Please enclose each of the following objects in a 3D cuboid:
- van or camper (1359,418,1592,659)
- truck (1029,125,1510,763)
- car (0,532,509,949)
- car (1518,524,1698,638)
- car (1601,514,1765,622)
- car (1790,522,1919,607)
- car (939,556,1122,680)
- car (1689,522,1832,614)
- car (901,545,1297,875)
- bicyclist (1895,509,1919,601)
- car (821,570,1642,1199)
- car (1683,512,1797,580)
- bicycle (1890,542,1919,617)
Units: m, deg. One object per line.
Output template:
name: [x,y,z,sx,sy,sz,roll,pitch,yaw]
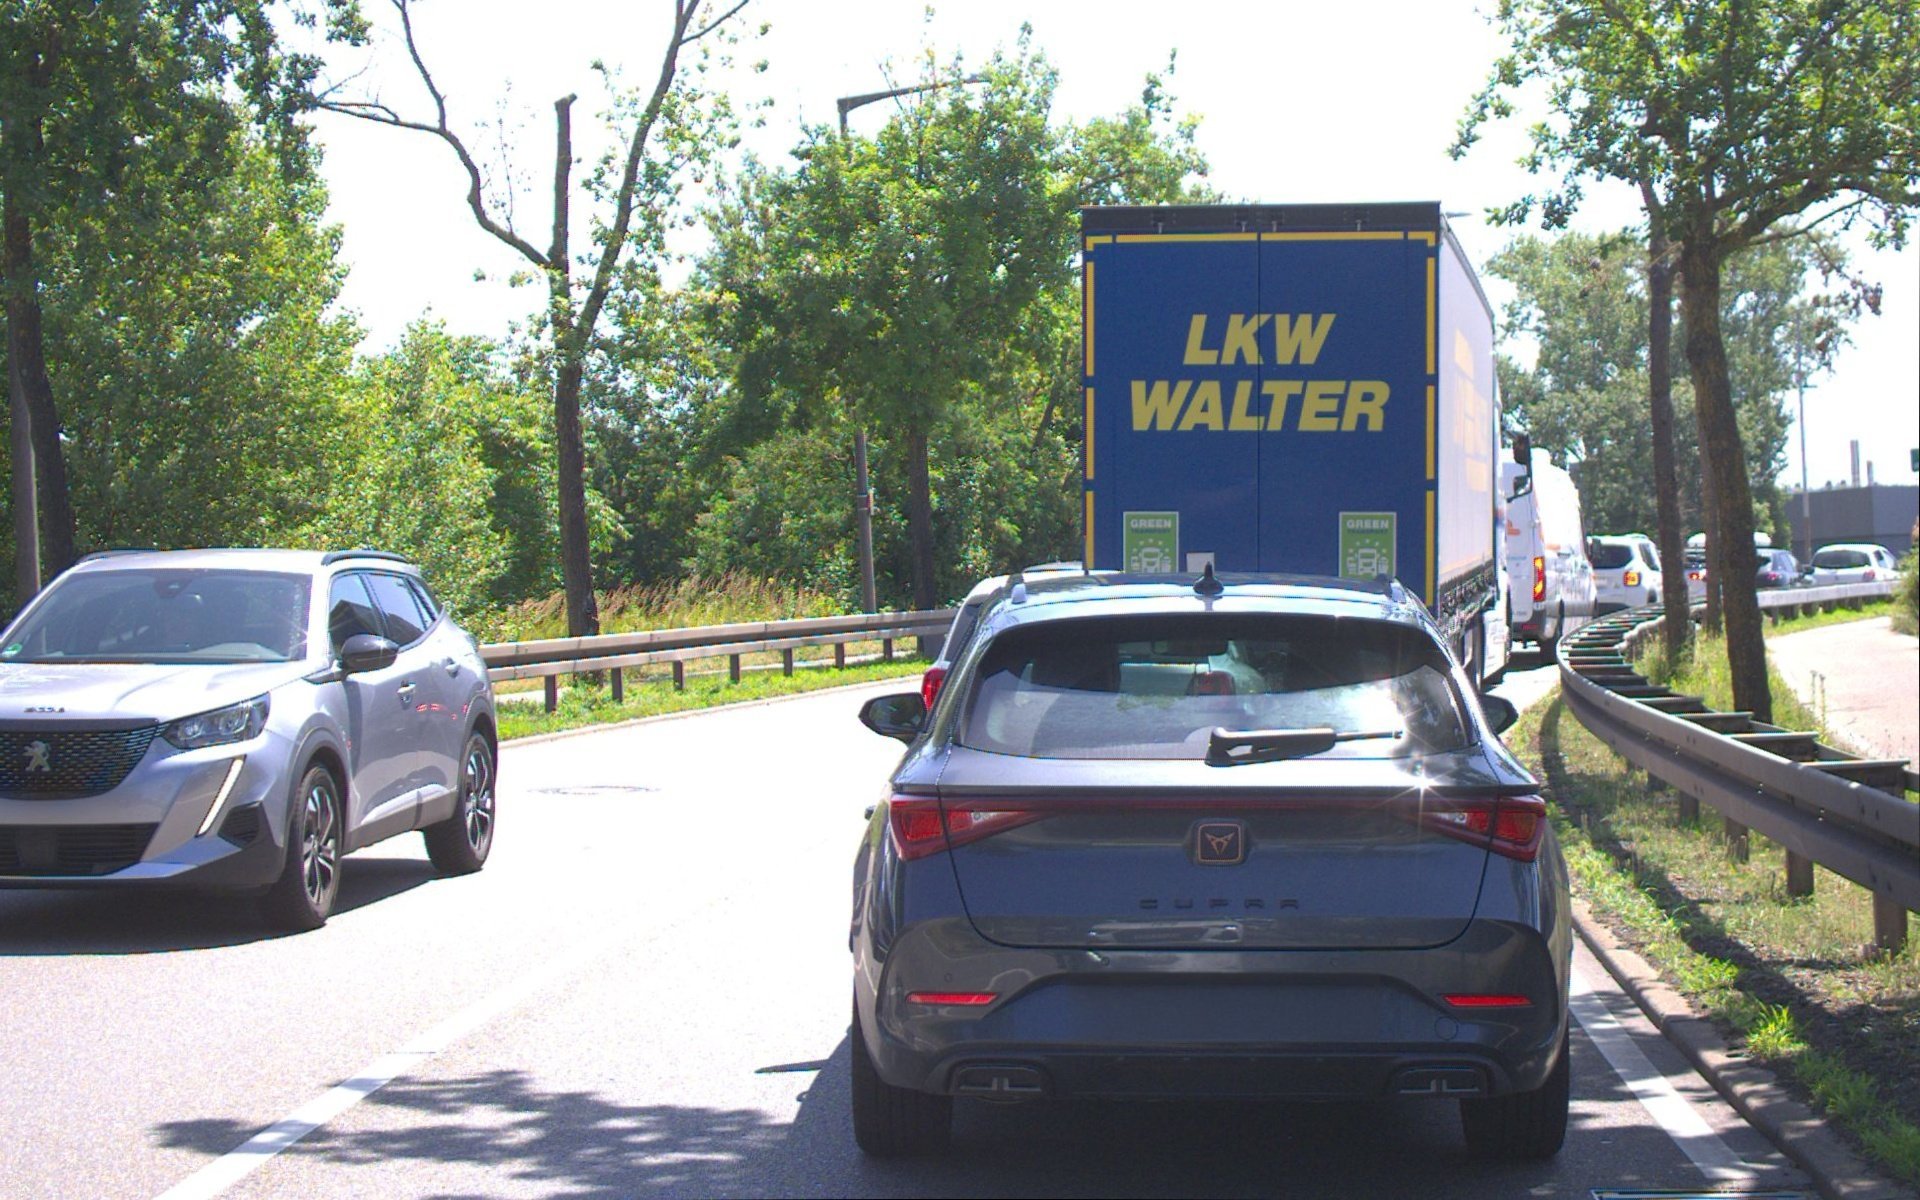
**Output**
van or camper: [6.973,-0.808,45.926,2.468,2.988,6.082,0,1,14]
truck: [3.475,-1.190,32.445,2.951,4.433,16.791,0,1,10]
car: [-3.272,0.497,14.949,1.750,1.550,4.126,0,1,5]
car: [10.204,-0.314,53.871,1.996,1.706,4.615,1,1,21]
car: [12.703,-0.571,60.173,1.996,1.802,4.840,1,1,22]
car: [19.360,-0.770,74.246,1.996,1.762,4.749,1,1,24]
car: [0.877,0.176,40.406,1.557,1.367,3.887,0,1,10]
car: [15.615,-0.625,66.911,1.996,1.711,4.863,1,1,22]
car: [0.701,0.479,17.801,1.809,1.503,4.000,0,1,2]
bicyclist: [16.029,-0.743,57.160,0.861,1.518,0.979,1,1,19]
car: [0.625,0.645,9.291,1.744,1.427,3.880,0,1,1]
car: [18.142,-1.244,79.828,1.752,1.550,4.121,1,1,25]
bicycle: [16.030,-0.349,57.234,0.861,1.232,2.307,1,1,20]
